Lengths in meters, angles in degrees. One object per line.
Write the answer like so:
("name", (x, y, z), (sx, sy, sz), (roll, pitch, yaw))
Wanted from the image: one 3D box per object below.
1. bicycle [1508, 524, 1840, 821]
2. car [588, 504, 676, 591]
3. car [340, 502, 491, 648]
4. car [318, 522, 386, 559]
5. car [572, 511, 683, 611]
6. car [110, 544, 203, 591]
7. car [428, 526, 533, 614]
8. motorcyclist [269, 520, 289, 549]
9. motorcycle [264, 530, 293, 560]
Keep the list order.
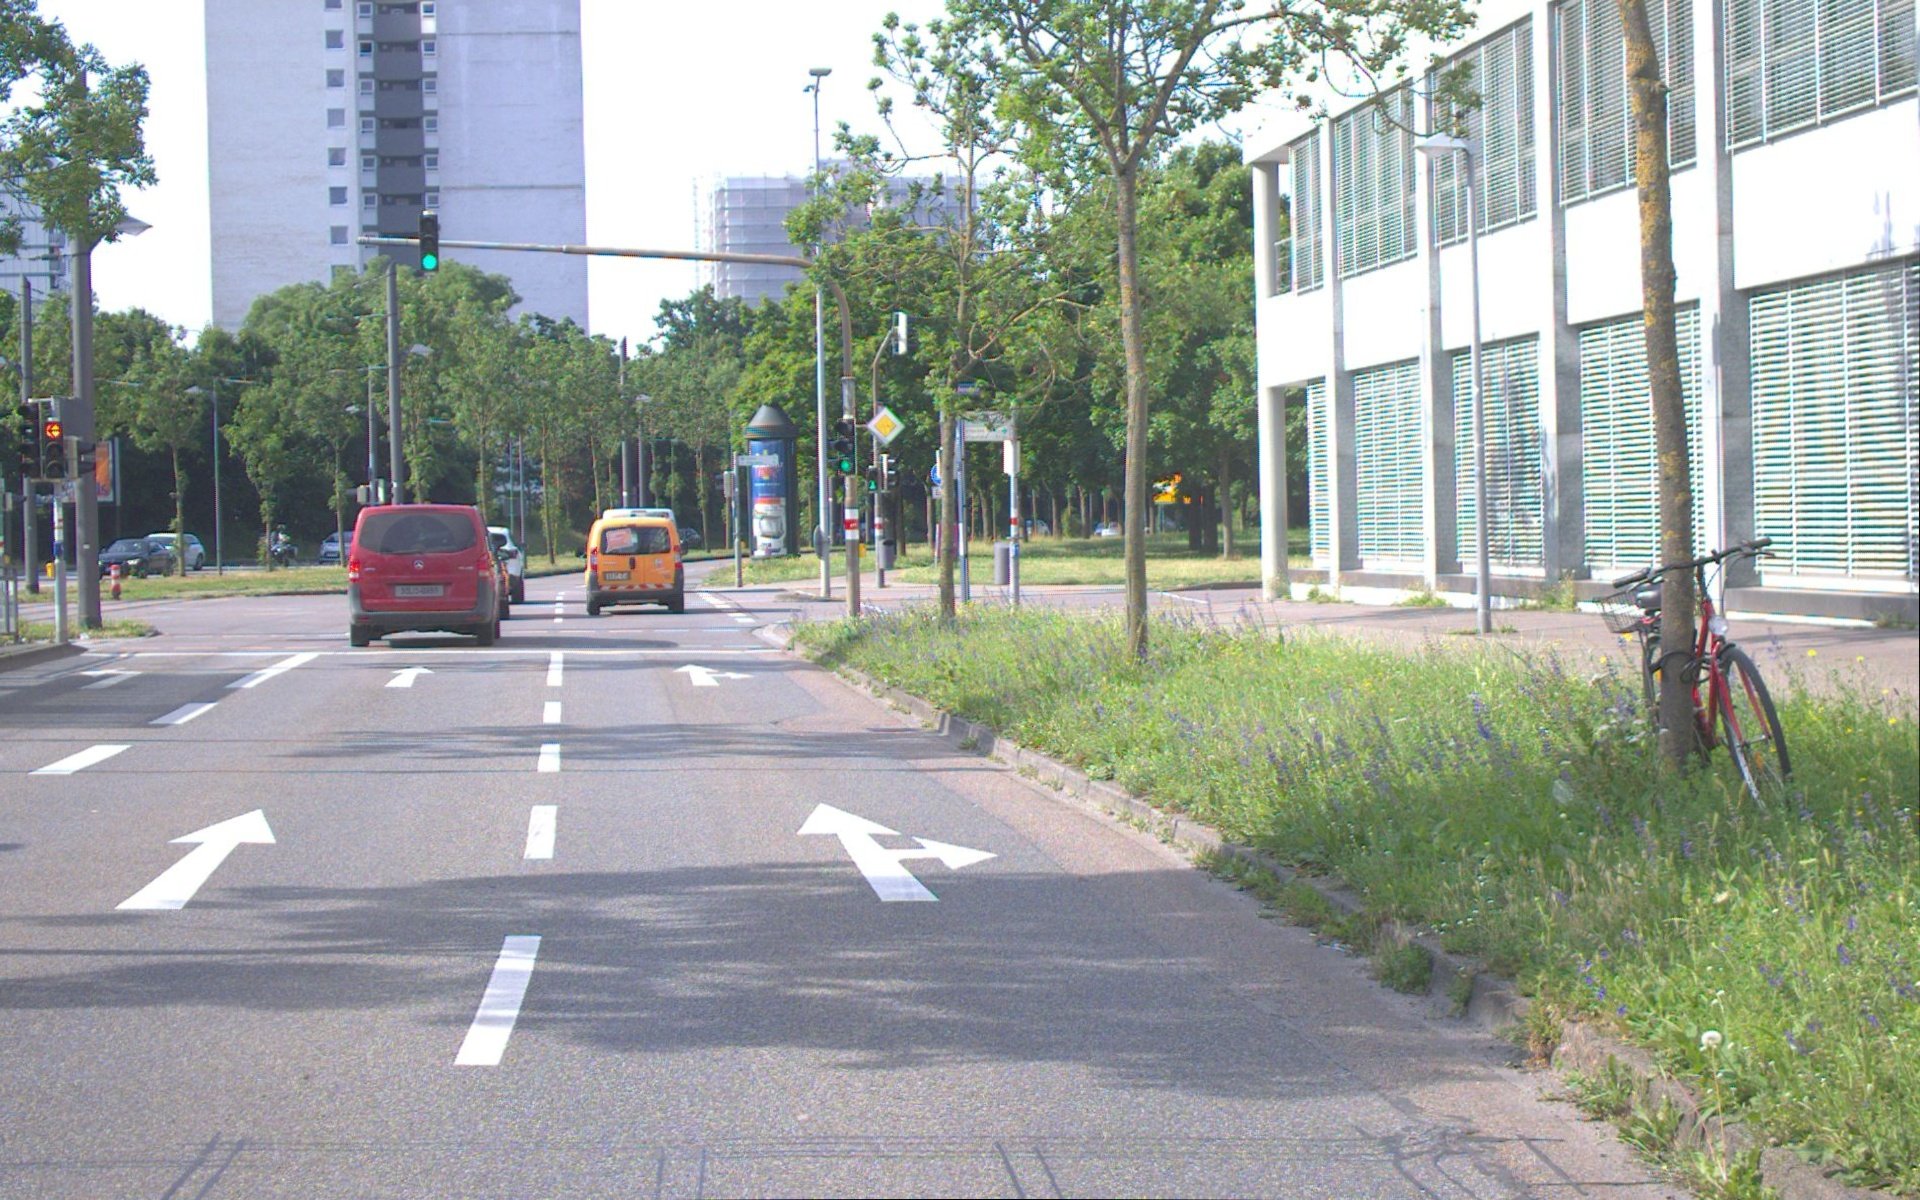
("bicycle", (2.614, 0.232, 12.790), (0.617, 1.013, 1.880), (-1, 1, -7))
("car", (-7.832, -1.243, 81.785), (1.993, 2.007, 4.001), (1, 1, -6))
("car", (-7.253, -0.353, 46.083), (1.874, 1.847, 4.001), (-1, 1, -8))
("car", (-26.872, -2.633, 152.054), (1.875, 1.568, 3.999), (-1, 1, 6))
("car", (-5.915, -0.703, 61.015), (1.875, 1.690, 3.974), (-1, 1, -6))
("car", (-27.694, -1.139, 118.583), (1.875, 1.568, 3.999), (1, 1, 6))
("car", (-9.851, -0.635, 70.826), (1.993, 1.700, 4.001), (-2, 1, -6))
("motorcyclist", (-26.884, -2.585, 135.684), (0.620, 1.163, 0.551), (-1, 1, 7))
("motorcycle", (-26.883, -2.187, 135.690), (0.637, 1.163, 1.643), (-1, 1, 7))
